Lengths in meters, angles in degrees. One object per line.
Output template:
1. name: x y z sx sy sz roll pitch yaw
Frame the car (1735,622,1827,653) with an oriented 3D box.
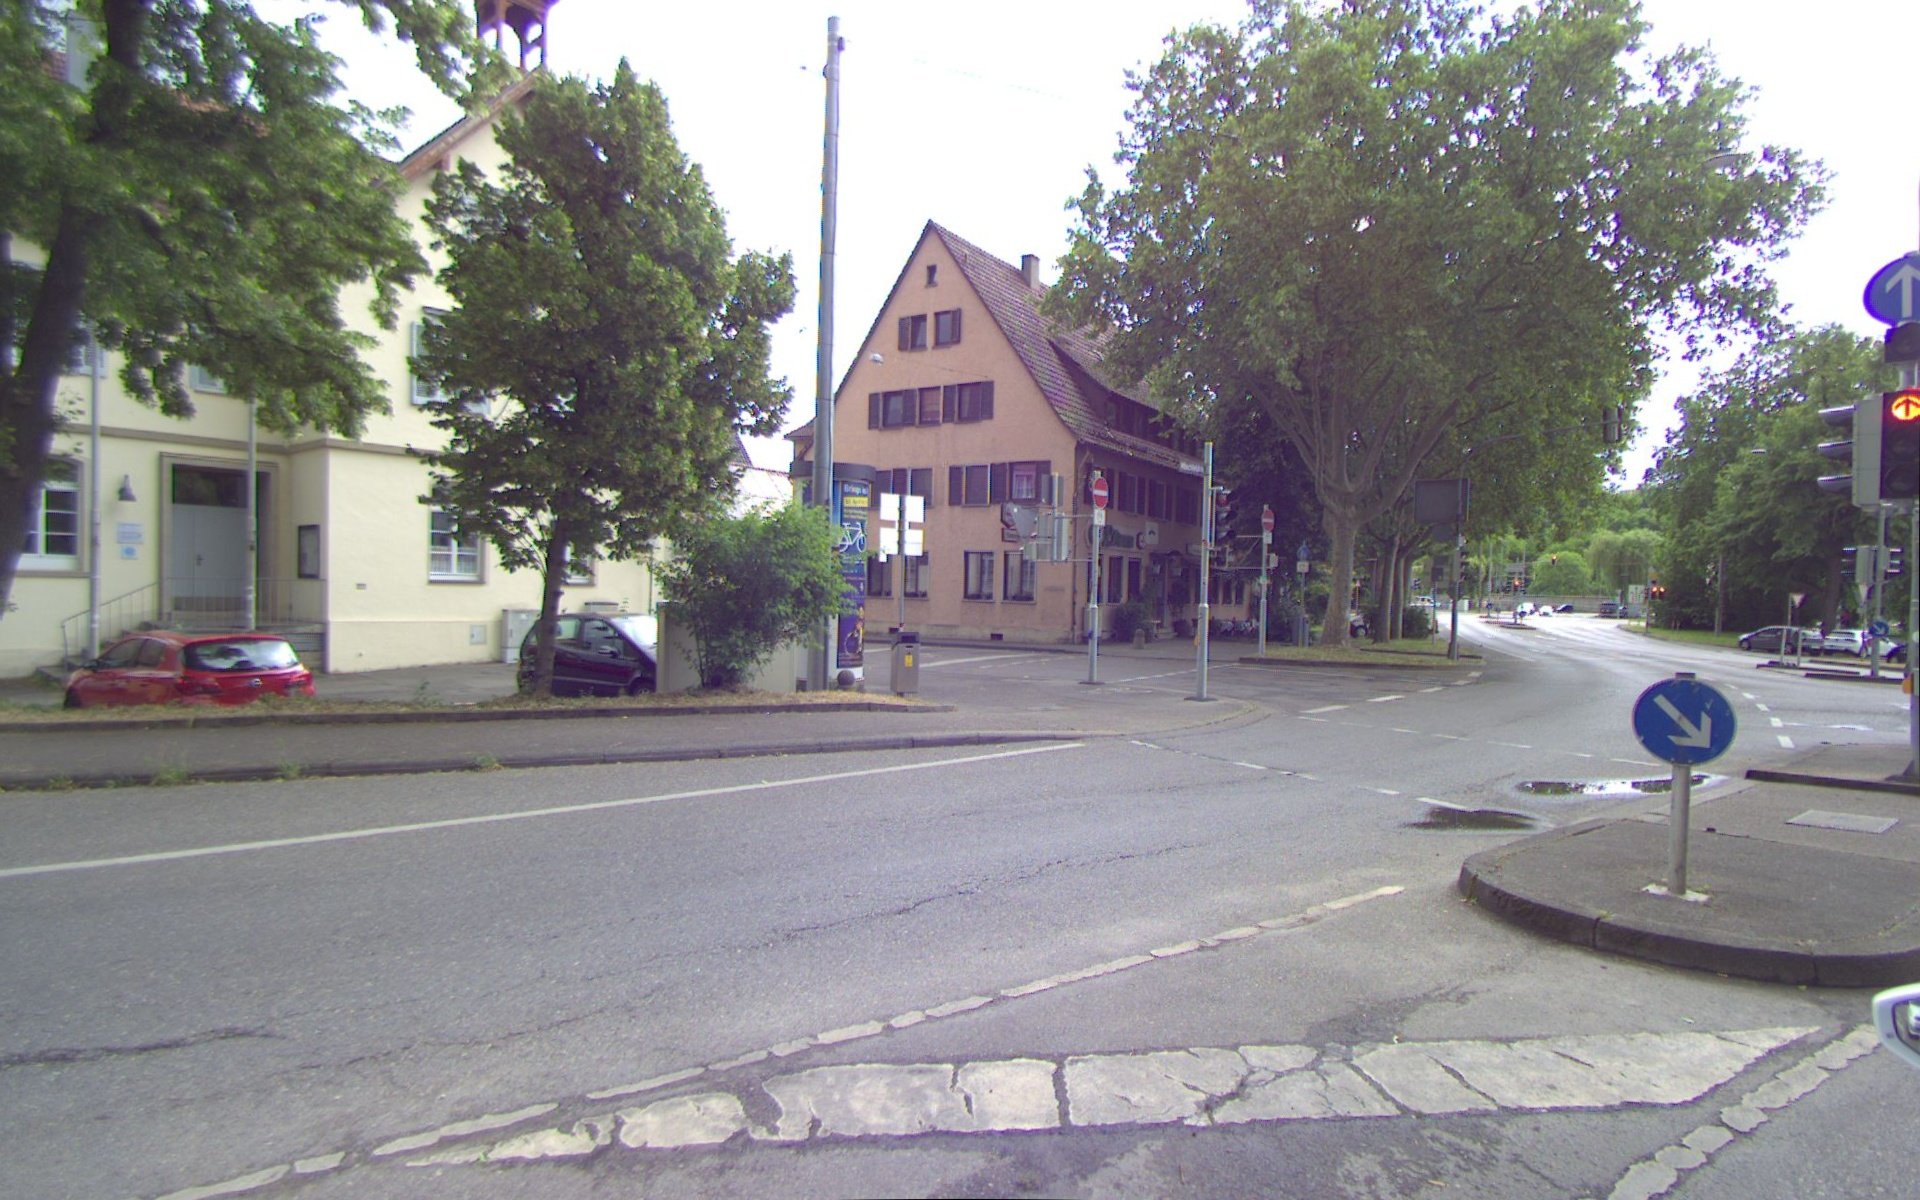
1. car: 43.866 1.966 53.765 1.559 1.484 3.543 2 0 -17

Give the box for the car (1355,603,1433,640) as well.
1. car: 21.411 1.046 49.588 3.387 1.663 1.570 2 0 28

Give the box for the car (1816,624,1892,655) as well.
1. car: 47.304 2.079 53.166 3.342 1.484 1.543 2 0 -19

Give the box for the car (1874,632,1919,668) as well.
1. car: 39.572 2.075 40.949 1.442 1.412 3.596 2 0 3

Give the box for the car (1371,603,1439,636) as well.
1. car: 25.472 1.085 57.472 3.387 1.765 1.570 2 0 28

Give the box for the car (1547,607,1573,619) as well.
1. car: 108.232 2.313 181.095 3.928 2.040 1.996 2 0 30

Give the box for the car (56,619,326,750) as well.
1. car: -10.172 1.012 13.251 3.492 1.397 1.605 2 0 30

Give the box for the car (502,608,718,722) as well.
1. car: -5.761 1.005 16.599 3.035 1.654 1.607 2 0 22
